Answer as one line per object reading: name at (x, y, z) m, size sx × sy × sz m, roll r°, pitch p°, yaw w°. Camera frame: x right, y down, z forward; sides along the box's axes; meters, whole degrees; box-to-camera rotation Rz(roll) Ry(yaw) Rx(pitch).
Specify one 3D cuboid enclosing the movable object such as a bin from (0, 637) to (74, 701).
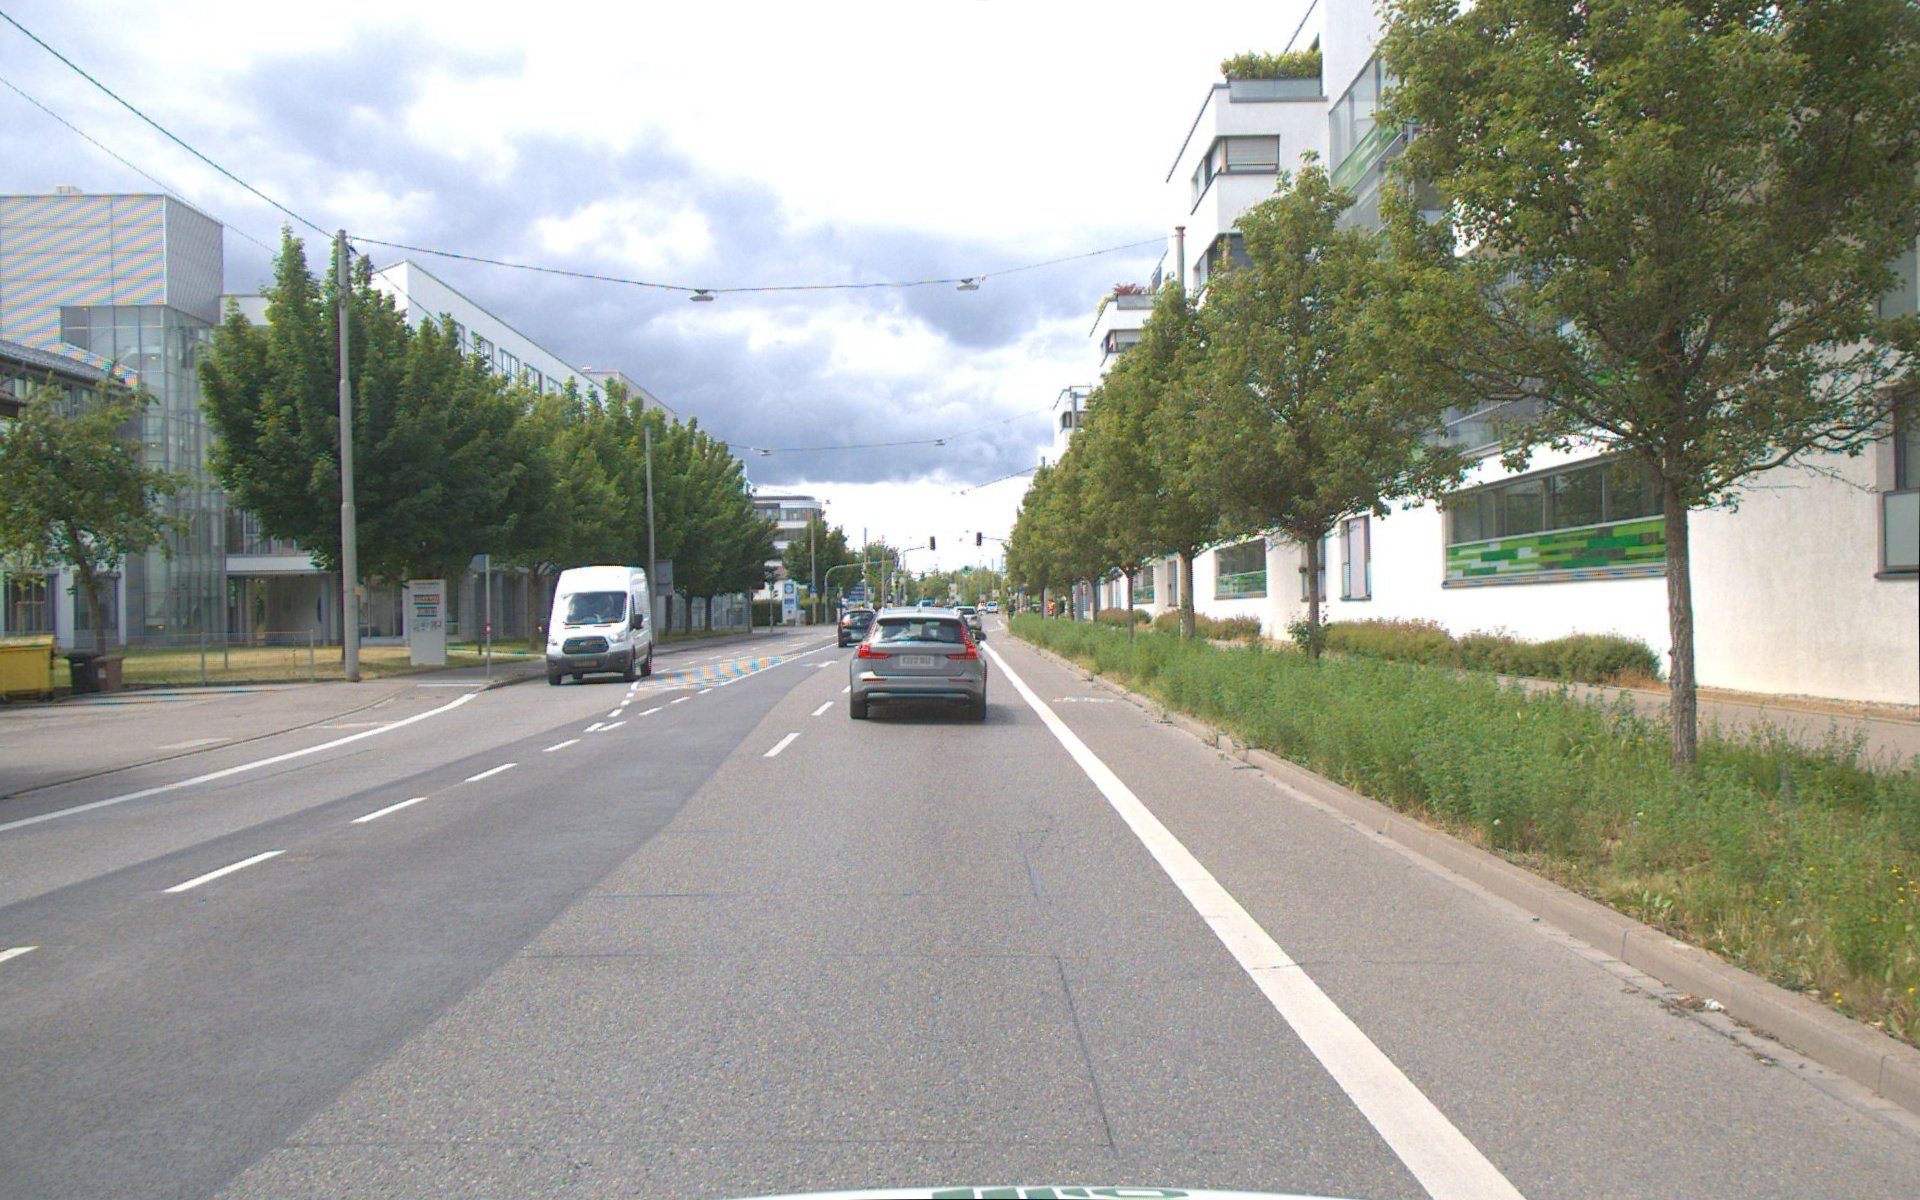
movable object such as a bin at (-20.788, 1.534, 37.143) m, size 1.386 × 1.353 × 1.414 m, roll -2°, pitch 0°, yaw -22°

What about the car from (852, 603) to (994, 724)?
car at (-0.547, 0.819, 23.114) m, size 1.817 × 1.539 × 3.998 m, roll 0°, pitch 0°, yaw -2°

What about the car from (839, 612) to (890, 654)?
car at (-3.697, 1.250, 64.300) m, size 1.817 × 1.539 × 3.999 m, roll 0°, pitch 0°, yaw -1°

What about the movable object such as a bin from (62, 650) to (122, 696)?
movable object such as a bin at (-19.425, 1.625, 37.042) m, size 0.730 × 0.958 × 1.000 m, roll -2°, pitch 0°, yaw 6°

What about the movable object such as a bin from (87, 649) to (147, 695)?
movable object such as a bin at (-18.695, 1.591, 36.680) m, size 0.730 × 0.958 × 1.000 m, roll -2°, pitch 0°, yaw 6°

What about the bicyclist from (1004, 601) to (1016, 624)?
bicyclist at (4.683, 1.182, 154.513) m, size 0.993 × 2.049 × 1.131 m, roll -2°, pitch 0°, yaw -1°

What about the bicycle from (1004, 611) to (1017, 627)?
bicycle at (4.722, 1.754, 154.583) m, size 1.045 × 1.478 × 2.976 m, roll -2°, pitch 0°, yaw -1°

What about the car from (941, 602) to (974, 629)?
car at (-0.173, 0.890, 96.083) m, size 1.807 × 1.539 × 3.999 m, roll 0°, pitch 0°, yaw -1°

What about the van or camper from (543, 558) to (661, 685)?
van or camper at (-8.602, 0.502, 40.250) m, size 1.955 × 2.781 × 6.046 m, roll -2°, pitch 0°, yaw -5°
